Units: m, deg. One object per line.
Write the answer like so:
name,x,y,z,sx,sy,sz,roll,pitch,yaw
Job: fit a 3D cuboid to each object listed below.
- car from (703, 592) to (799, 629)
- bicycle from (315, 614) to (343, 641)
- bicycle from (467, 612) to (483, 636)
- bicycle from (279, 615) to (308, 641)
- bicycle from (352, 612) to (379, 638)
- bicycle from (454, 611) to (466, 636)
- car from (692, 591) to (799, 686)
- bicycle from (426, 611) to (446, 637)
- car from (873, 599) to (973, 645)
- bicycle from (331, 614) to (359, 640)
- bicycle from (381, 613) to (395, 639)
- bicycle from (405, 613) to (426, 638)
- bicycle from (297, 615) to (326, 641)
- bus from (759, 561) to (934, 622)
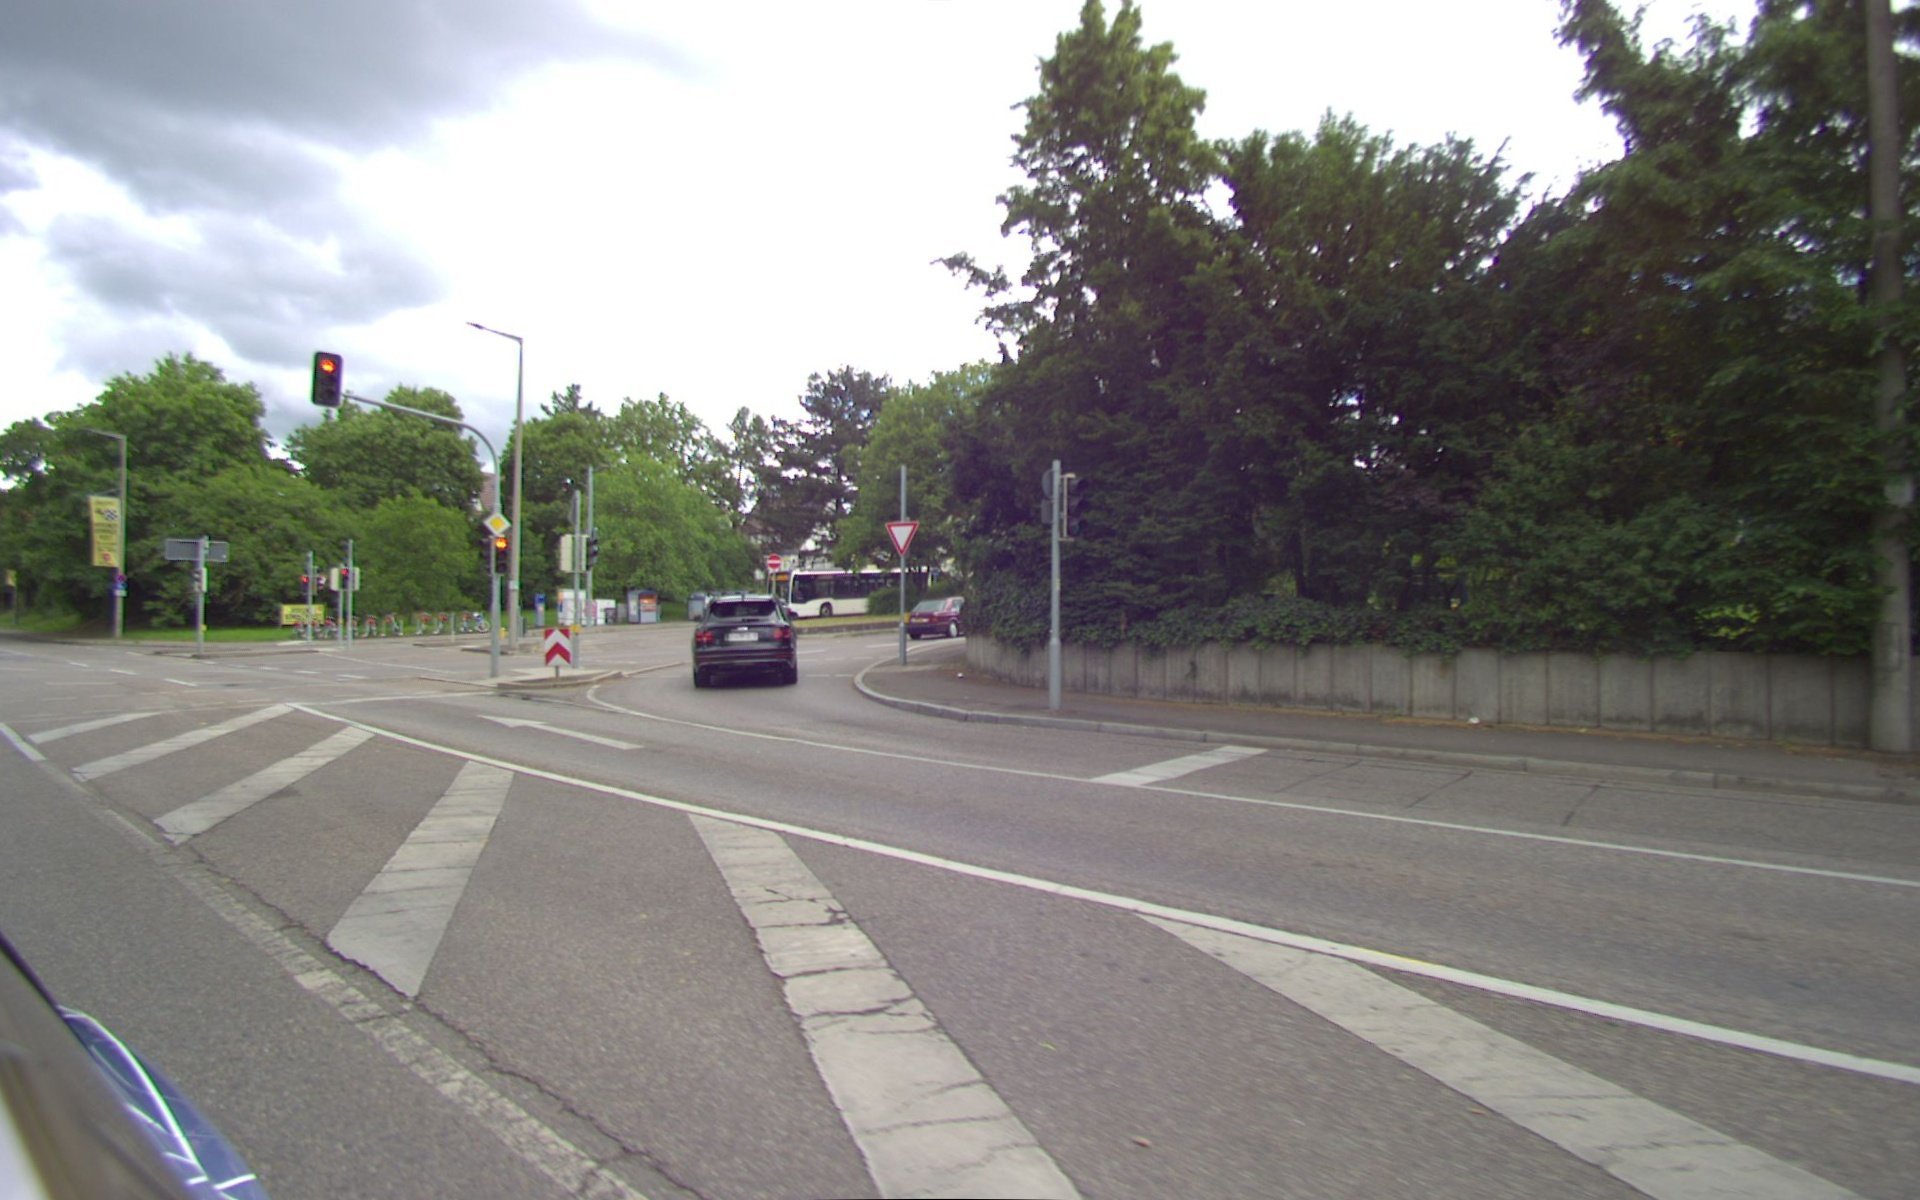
car,-11.143,0.538,54.182,4.675,1.867,2.002,-1,1,-44
bicycle,-31.765,1.366,50.968,0.537,1.262,1.940,-1,0,-11
bicycle,-25.710,1.258,53.609,0.536,1.262,1.941,-1,0,-32
bicycle,-33.211,1.388,50.452,0.537,1.262,1.940,-1,0,-11
bicycle,-30.138,1.267,51.333,0.537,1.262,1.940,-1,0,-11
bicycle,-26.336,1.242,53.286,0.536,1.262,1.942,-1,0,-26
car,-4.471,0.720,20.730,1.876,1.691,5.094,0,-1,-14
bicycle,-27.294,1.232,52.701,0.536,1.262,1.941,-1,0,-15
car,-1.235,0.723,36.030,1.738,1.475,4.304,0,1,26
bicycle,-31.000,1.334,51.035,0.537,1.262,1.940,-1,0,-11
bicycle,-29.255,1.316,51.754,0.536,1.262,1.941,-1,0,-32
bicycle,-28.126,1.298,52.286,0.536,1.262,1.941,-1,0,-15
bicycle,-32.505,1.377,50.760,0.537,1.262,1.940,-1,0,-11
bus,-6.872,-0.647,64.076,2.679,3.186,12.178,0,3,42
